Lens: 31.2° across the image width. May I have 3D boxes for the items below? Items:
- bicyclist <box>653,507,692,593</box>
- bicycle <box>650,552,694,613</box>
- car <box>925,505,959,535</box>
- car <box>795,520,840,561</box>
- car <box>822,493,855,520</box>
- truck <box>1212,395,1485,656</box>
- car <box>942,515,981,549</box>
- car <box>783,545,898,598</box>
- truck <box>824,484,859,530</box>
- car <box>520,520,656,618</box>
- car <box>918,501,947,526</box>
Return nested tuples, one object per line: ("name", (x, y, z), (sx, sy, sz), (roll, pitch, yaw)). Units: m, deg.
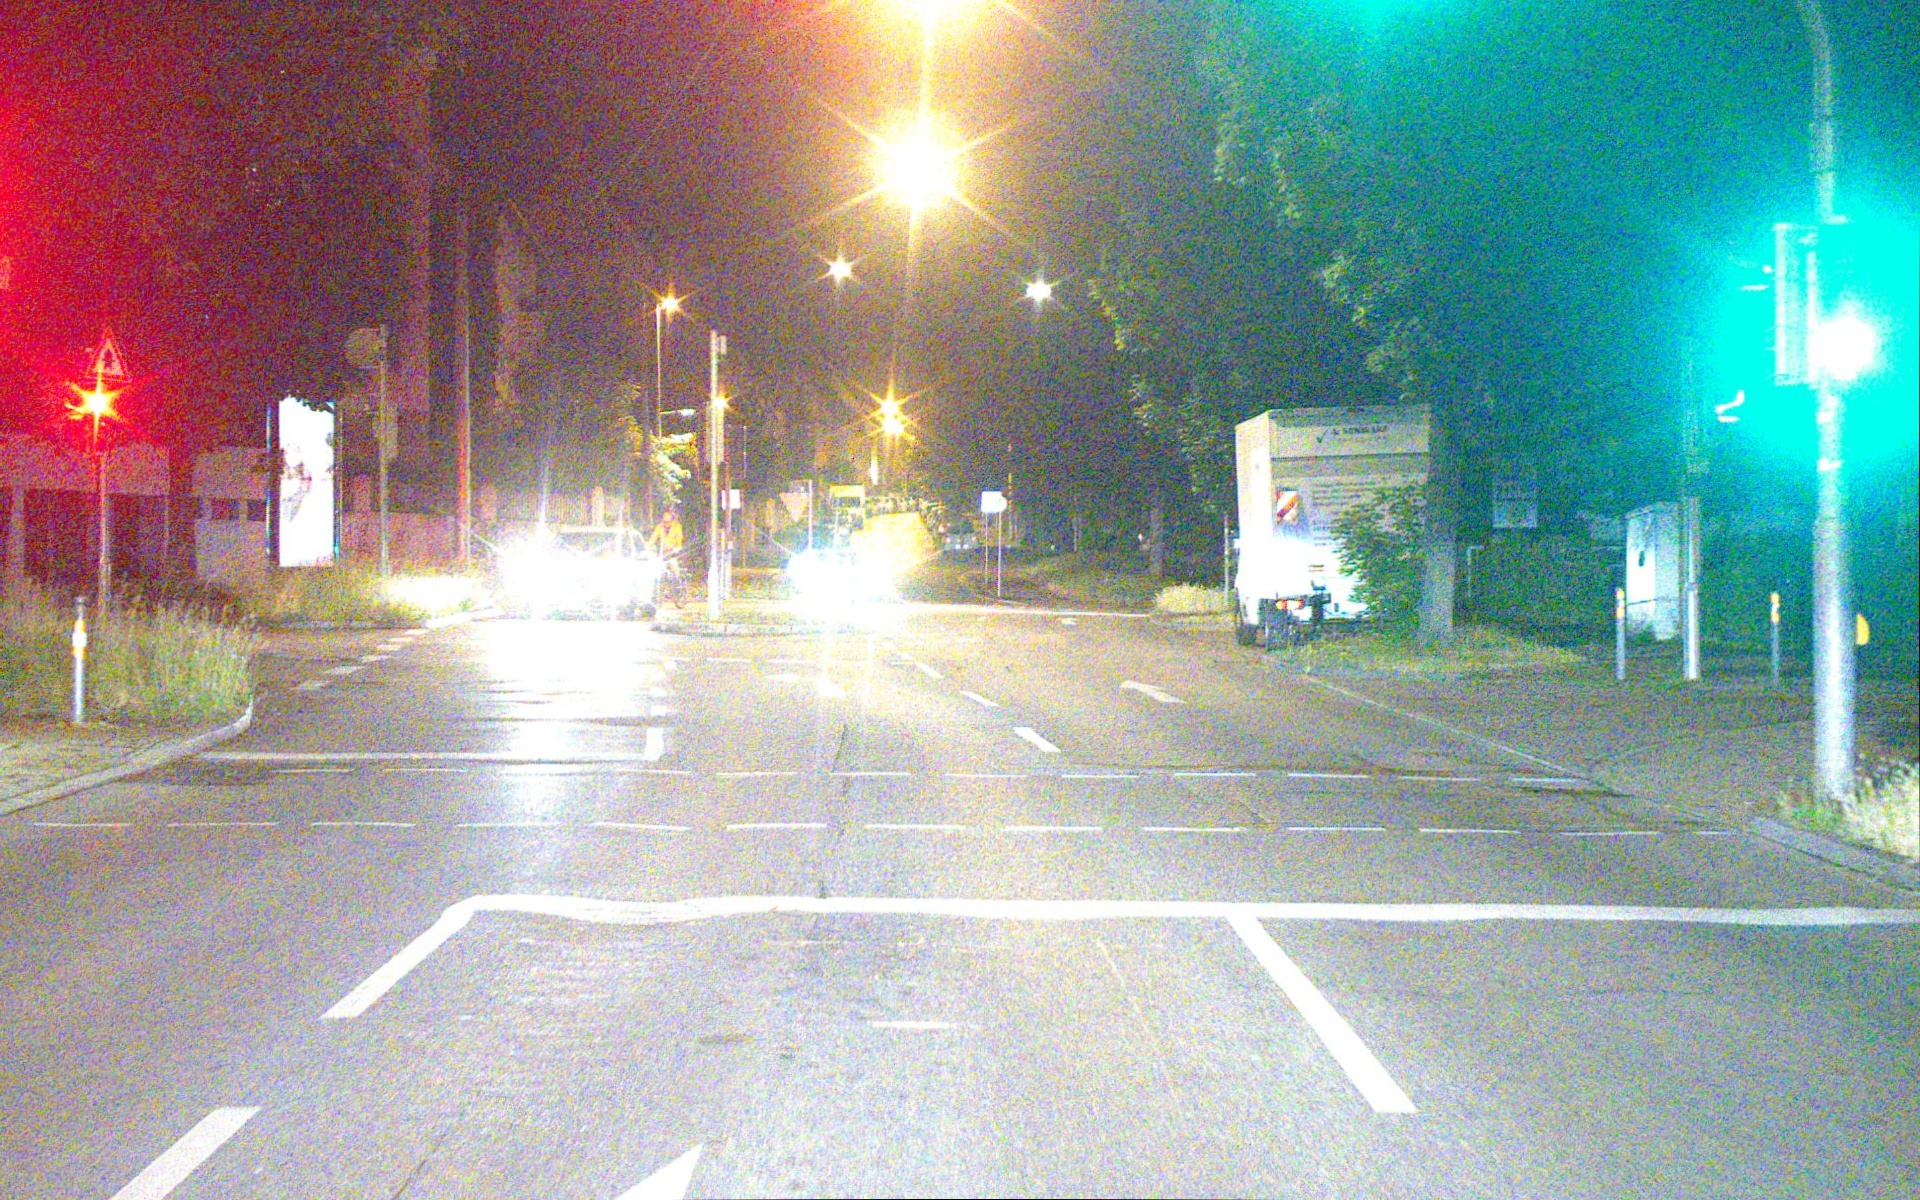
("bicyclist", (-5.513, -0.957, 65.940), (0.690, 1.631, 0.896), (1, 1, -1))
("bicycle", (-5.521, -0.343, 66.033), (0.696, 1.145, 1.951), (1, 1, -1))
("car", (-0.885, -3.952, 169.237), (1.634, 1.447, 3.485), (1, 1, -1))
("car", (-5.988, -2.511, 144.913), (1.815, 1.678, 4.000), (0, 1, -1))
("car", (-6.971, -5.374, 197.041), (1.815, 1.486, 4.001), (1, 1, -3))
("truck", (4.910, -0.960, 44.555), (2.749, 3.100, 6.259), (1, 1, 0))
("car", (0.056, -3.027, 153.280), (1.634, 1.447, 3.485), (1, 1, -1))
("car", (-3.359, -0.803, 95.580), (1.916, 1.384, 4.584), (1, 1, -19))
("truck", (-7.578, -5.910, 219.503), (2.086, 2.838, 5.832), (1, 1, -3))
("car", (-6.079, -0.531, 56.598), (1.857, 1.529, 4.028), (1, 1, -1))
("car", (-1.622, -5.061, 201.437), (1.634, 1.447, 3.485), (1, 1, -1))
